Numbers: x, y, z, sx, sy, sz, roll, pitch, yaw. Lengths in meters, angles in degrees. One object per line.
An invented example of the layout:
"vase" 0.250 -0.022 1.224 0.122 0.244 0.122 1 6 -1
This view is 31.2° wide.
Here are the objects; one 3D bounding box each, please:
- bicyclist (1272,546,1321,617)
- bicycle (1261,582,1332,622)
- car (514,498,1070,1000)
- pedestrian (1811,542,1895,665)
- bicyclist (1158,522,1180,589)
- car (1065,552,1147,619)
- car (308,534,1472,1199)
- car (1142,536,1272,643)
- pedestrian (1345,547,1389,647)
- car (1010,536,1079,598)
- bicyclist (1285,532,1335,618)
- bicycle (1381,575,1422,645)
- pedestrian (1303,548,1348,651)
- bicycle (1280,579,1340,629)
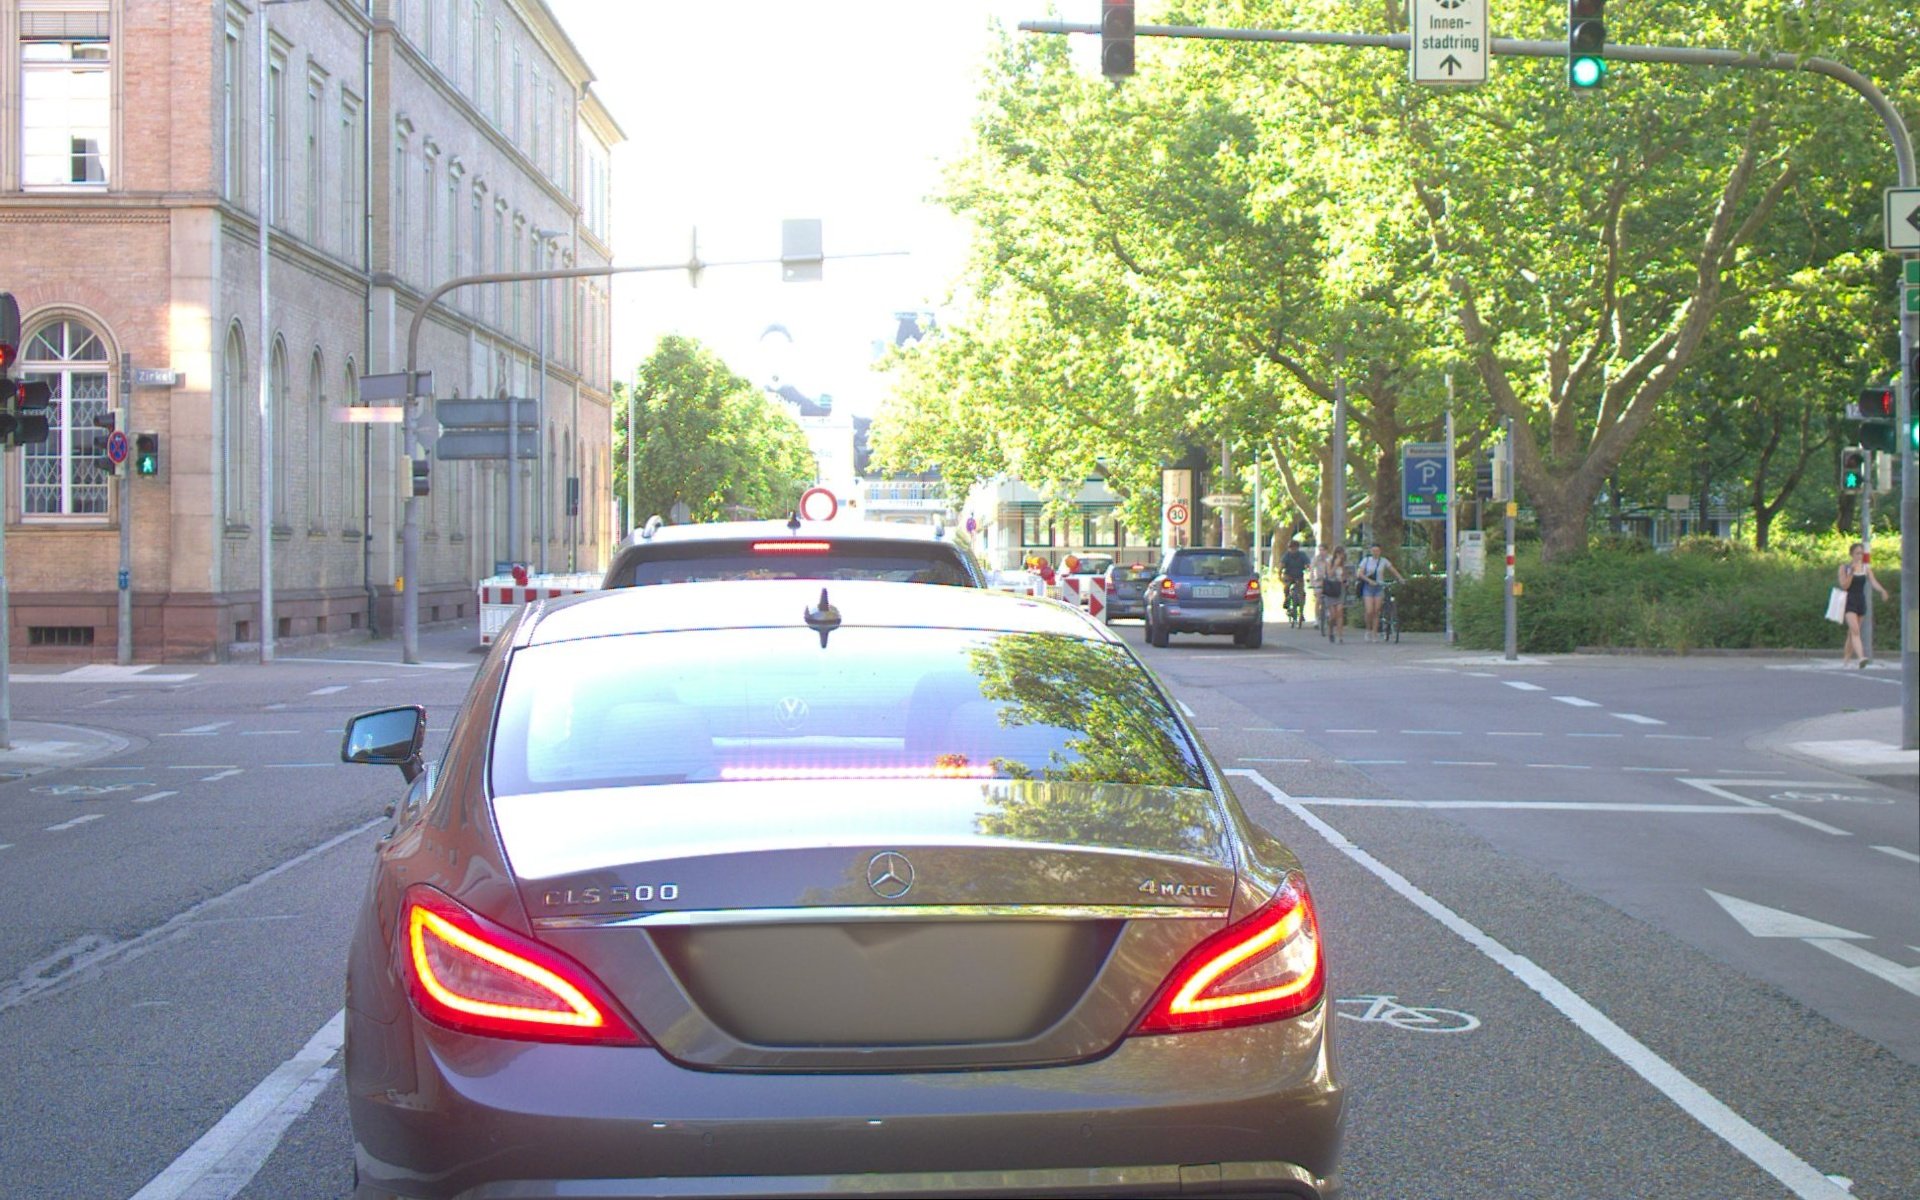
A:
"bicyclist" 6.734 -0.373 68.814 0.734 1.393 0.697 1 0 28
"bicycle" 6.737 0.038 68.840 0.724 0.788 1.925 1 1 28
"car" -0.589 0.470 13.600 1.861 1.677 4.000 1 1 -1
"pedestrian" 11.295 0.040 43.497 0.635 1.540 0.910 1 0 -16
"bicyclist" 6.378 -1.355 104.950 0.594 2.032 0.566 1 0 -4
"car" 3.412 -0.370 80.832 1.704 1.514 4.000 1 1 -1
"car" -0.368 0.624 7.470 1.861 1.514 4.001 0 1 -8
"car" 4.221 -0.214 59.340 1.861 1.758 4.482 1 1 -1
"pedestrian" 7.163 -0.054 60.511 0.635 1.754 0.699 1 0 -4
"car" 2.312 -0.901 94.495 1.731 1.656 3.681 1 1 -1
"bicyclist" 6.646 -0.474 65.264 0.825 1.612 0.957 1 0 -1
"bicycle" 7.755 0.162 60.445 0.482 1.198 1.606 1 1 -1
"pedestrian" 6.441 -0.010 60.583 0.635 1.791 0.699 1 0 -4
"bicycle" 6.640 0.069 65.350 0.828 0.921 2.617 1 1 -1
